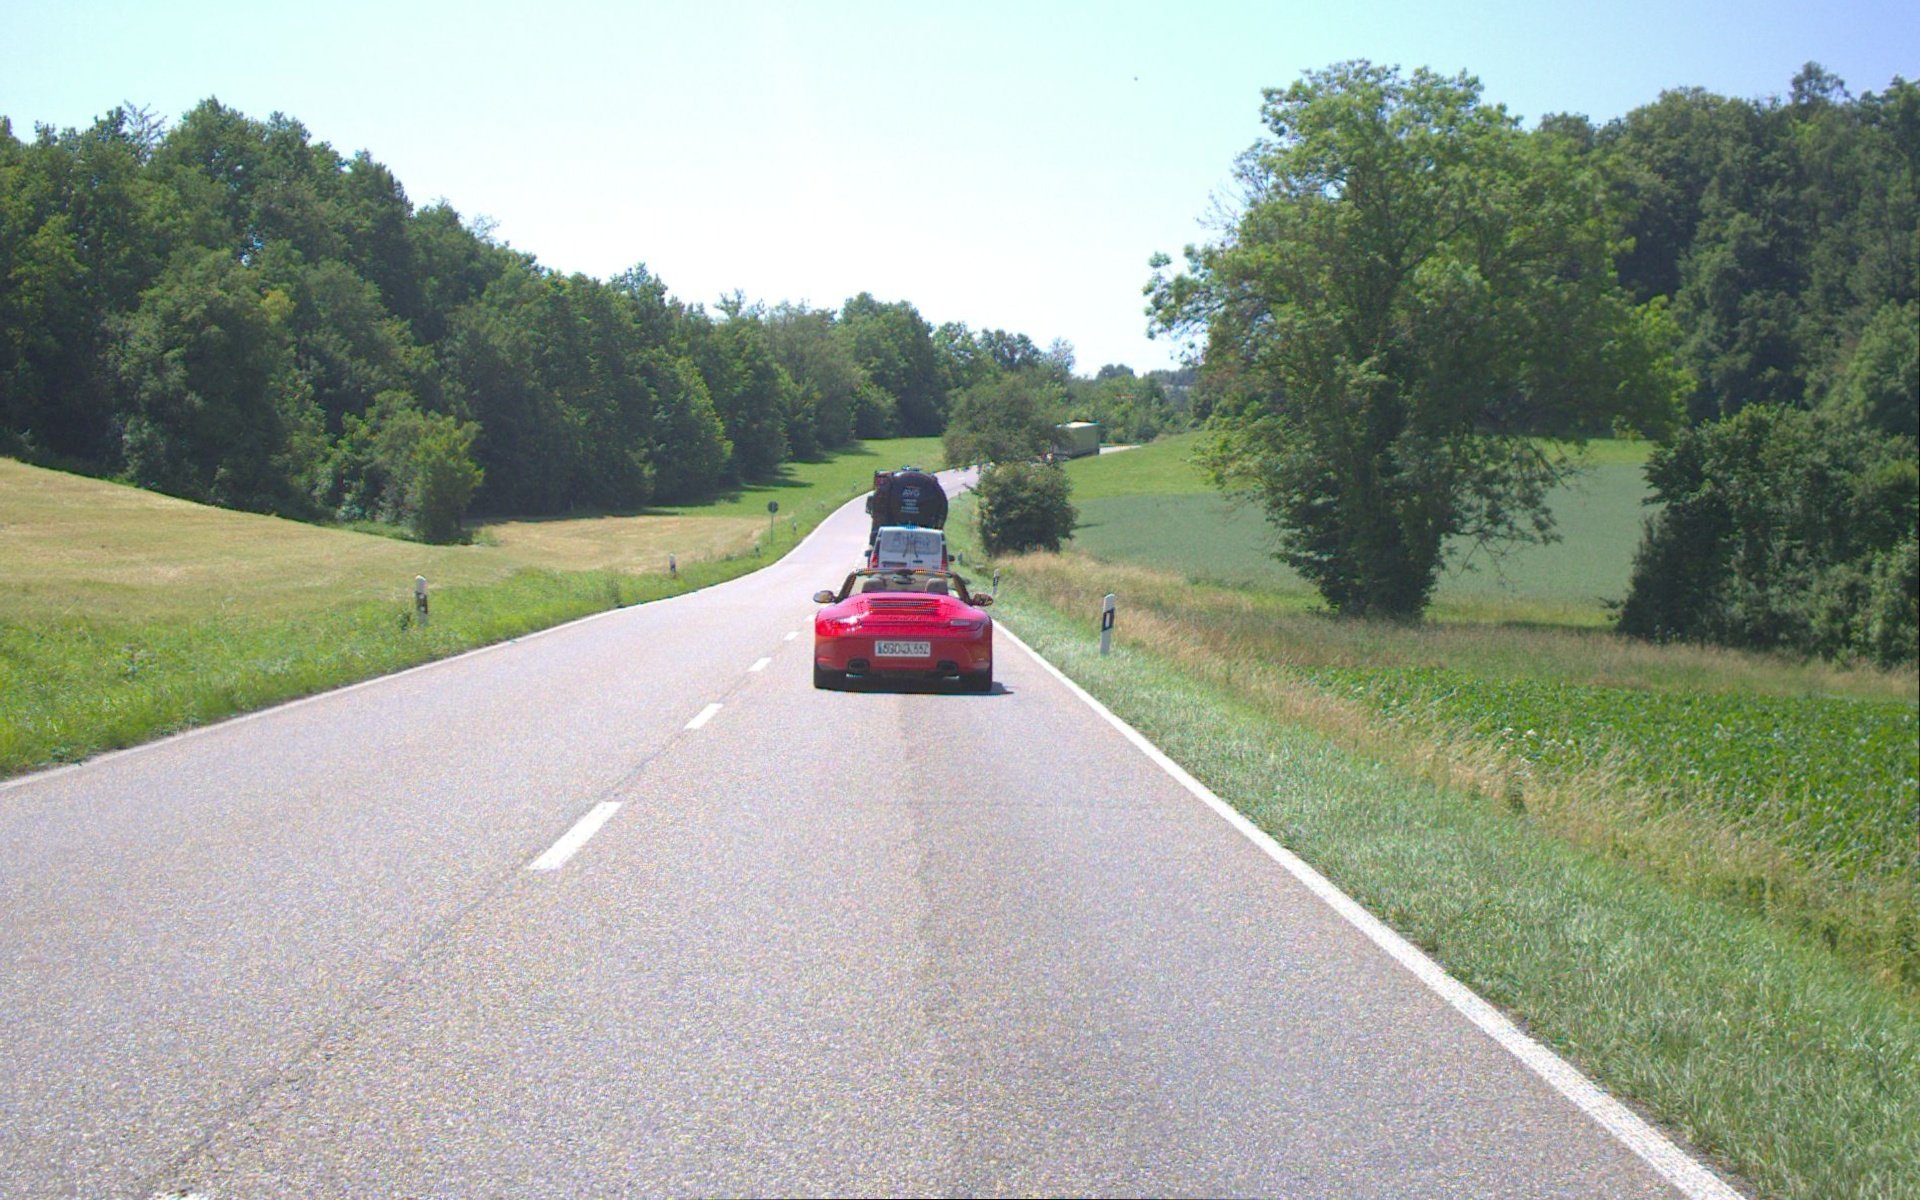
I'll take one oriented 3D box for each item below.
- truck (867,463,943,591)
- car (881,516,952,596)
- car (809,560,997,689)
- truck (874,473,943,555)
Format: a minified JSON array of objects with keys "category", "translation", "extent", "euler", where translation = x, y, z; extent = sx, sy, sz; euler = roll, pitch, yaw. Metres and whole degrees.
[{"category":"truck","translation":[-1.981,-2.662,119.567],"extent":[2.403,4.035,12.553],"euler":[0,3,-2]},{"category":"car","translation":[-1.034,-1.086,83.452],"extent":[1.678,1.894,4.010],"euler":[0,1,0]},{"category":"car","translation":[-0.616,0.223,36.731],"extent":[1.882,1.251,4.010],"euler":[1,1,-1]},{"category":"truck","translation":[-3.134,-5.203,205.181],"extent":[3.725,4.644,12.033],"euler":[1,3,-2]}]
